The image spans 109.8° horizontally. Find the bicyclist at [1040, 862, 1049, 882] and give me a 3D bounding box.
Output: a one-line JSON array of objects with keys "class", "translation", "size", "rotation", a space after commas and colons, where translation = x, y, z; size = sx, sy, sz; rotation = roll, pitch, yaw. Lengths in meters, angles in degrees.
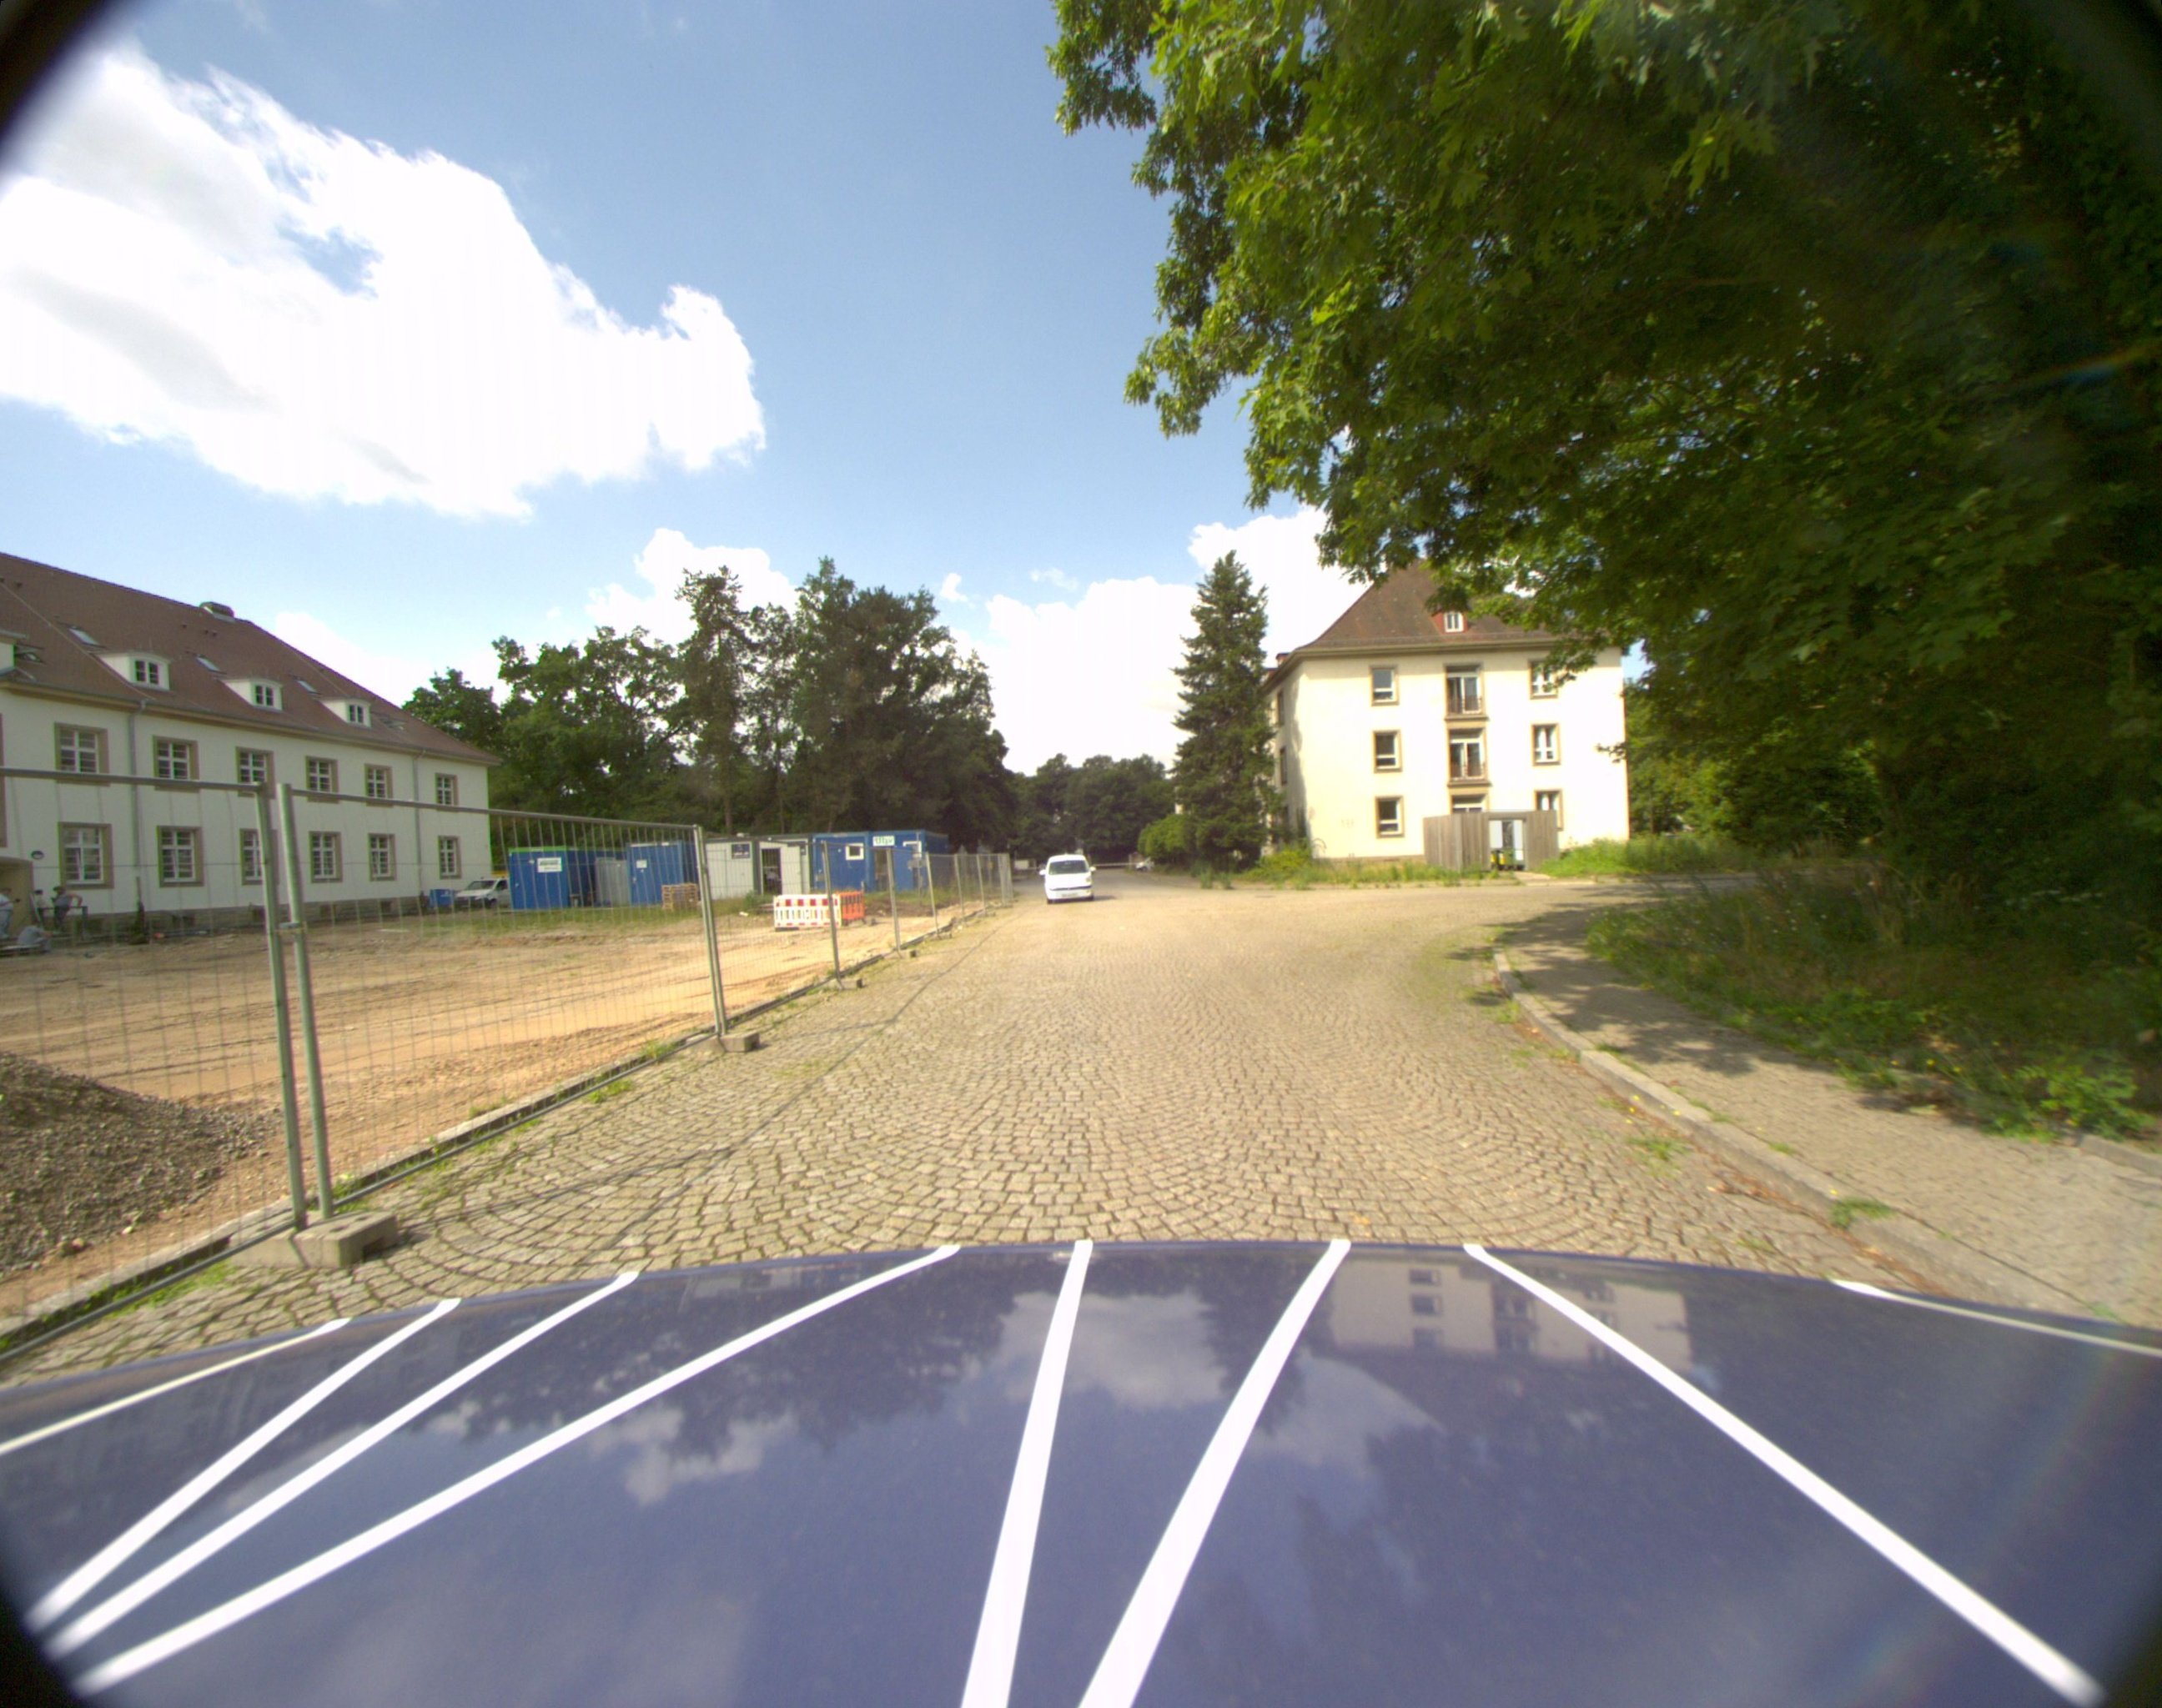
[{"class": "bicyclist", "translation": [-3.373, 1.648, 70.236], "size": [0.634, 1.760, 0.571], "rotation": [-3, 0, -1]}]

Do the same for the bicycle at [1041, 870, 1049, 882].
[{"class": "bicycle", "translation": [-3.354, 2.010, 70.232], "size": [0.634, 0.990, 1.557], "rotation": [-3, 0, -1]}]

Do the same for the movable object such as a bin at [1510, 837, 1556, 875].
[{"class": "movable object such as a bin", "translation": [18.778, 0.088, 31.575], "size": [1.172, 1.522, 1.153], "rotation": [-2, 0, -2]}]

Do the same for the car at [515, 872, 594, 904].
[{"class": "car", "translation": [-31.467, 1.997, 45.559], "size": [1.802, 1.673, 4.040], "rotation": [-2, 0, 2]}]

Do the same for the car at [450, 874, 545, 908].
[{"class": "car", "translation": [-34.644, 2.168, 45.308], "size": [1.884, 1.718, 4.708], "rotation": [-2, 0, 2]}]

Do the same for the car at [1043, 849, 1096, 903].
[{"class": "car", "translation": [-0.493, 0.853, 29.972], "size": [1.839, 1.857, 4.831], "rotation": [-2, -1, -2]}]

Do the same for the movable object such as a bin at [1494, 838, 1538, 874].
[{"class": "movable object such as a bin", "translation": [18.752, 0.087, 32.777], "size": [1.172, 1.522, 1.153], "rotation": [-2, 0, -2]}]

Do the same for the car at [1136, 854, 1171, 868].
[{"class": "car", "translation": [8.799, 0.830, 92.592], "size": [4.084, 1.634, 1.767], "rotation": [-2, 0, 0]}]

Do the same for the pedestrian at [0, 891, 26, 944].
[{"class": "pedestrian", "translation": [-36.595, 2.172, 25.941], "size": [0.490, 1.777, 0.507], "rotation": [-3, 0, 24]}]

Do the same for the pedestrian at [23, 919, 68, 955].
[{"class": "pedestrian", "translation": [-35.046, 2.804, 25.721], "size": [0.491, 1.108, 0.709], "rotation": [-3, 0, -1]}]

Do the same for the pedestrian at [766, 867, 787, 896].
[{"class": "pedestrian", "translation": [-13.520, 1.229, 33.783], "size": [0.602, 1.235, 0.683], "rotation": [-3, 0, 0]}]

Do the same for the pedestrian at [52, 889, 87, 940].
[{"class": "pedestrian", "translation": [-36.467, 2.165, 27.396], "size": [0.491, 1.777, 0.507], "rotation": [-3, 0, -2]}]
